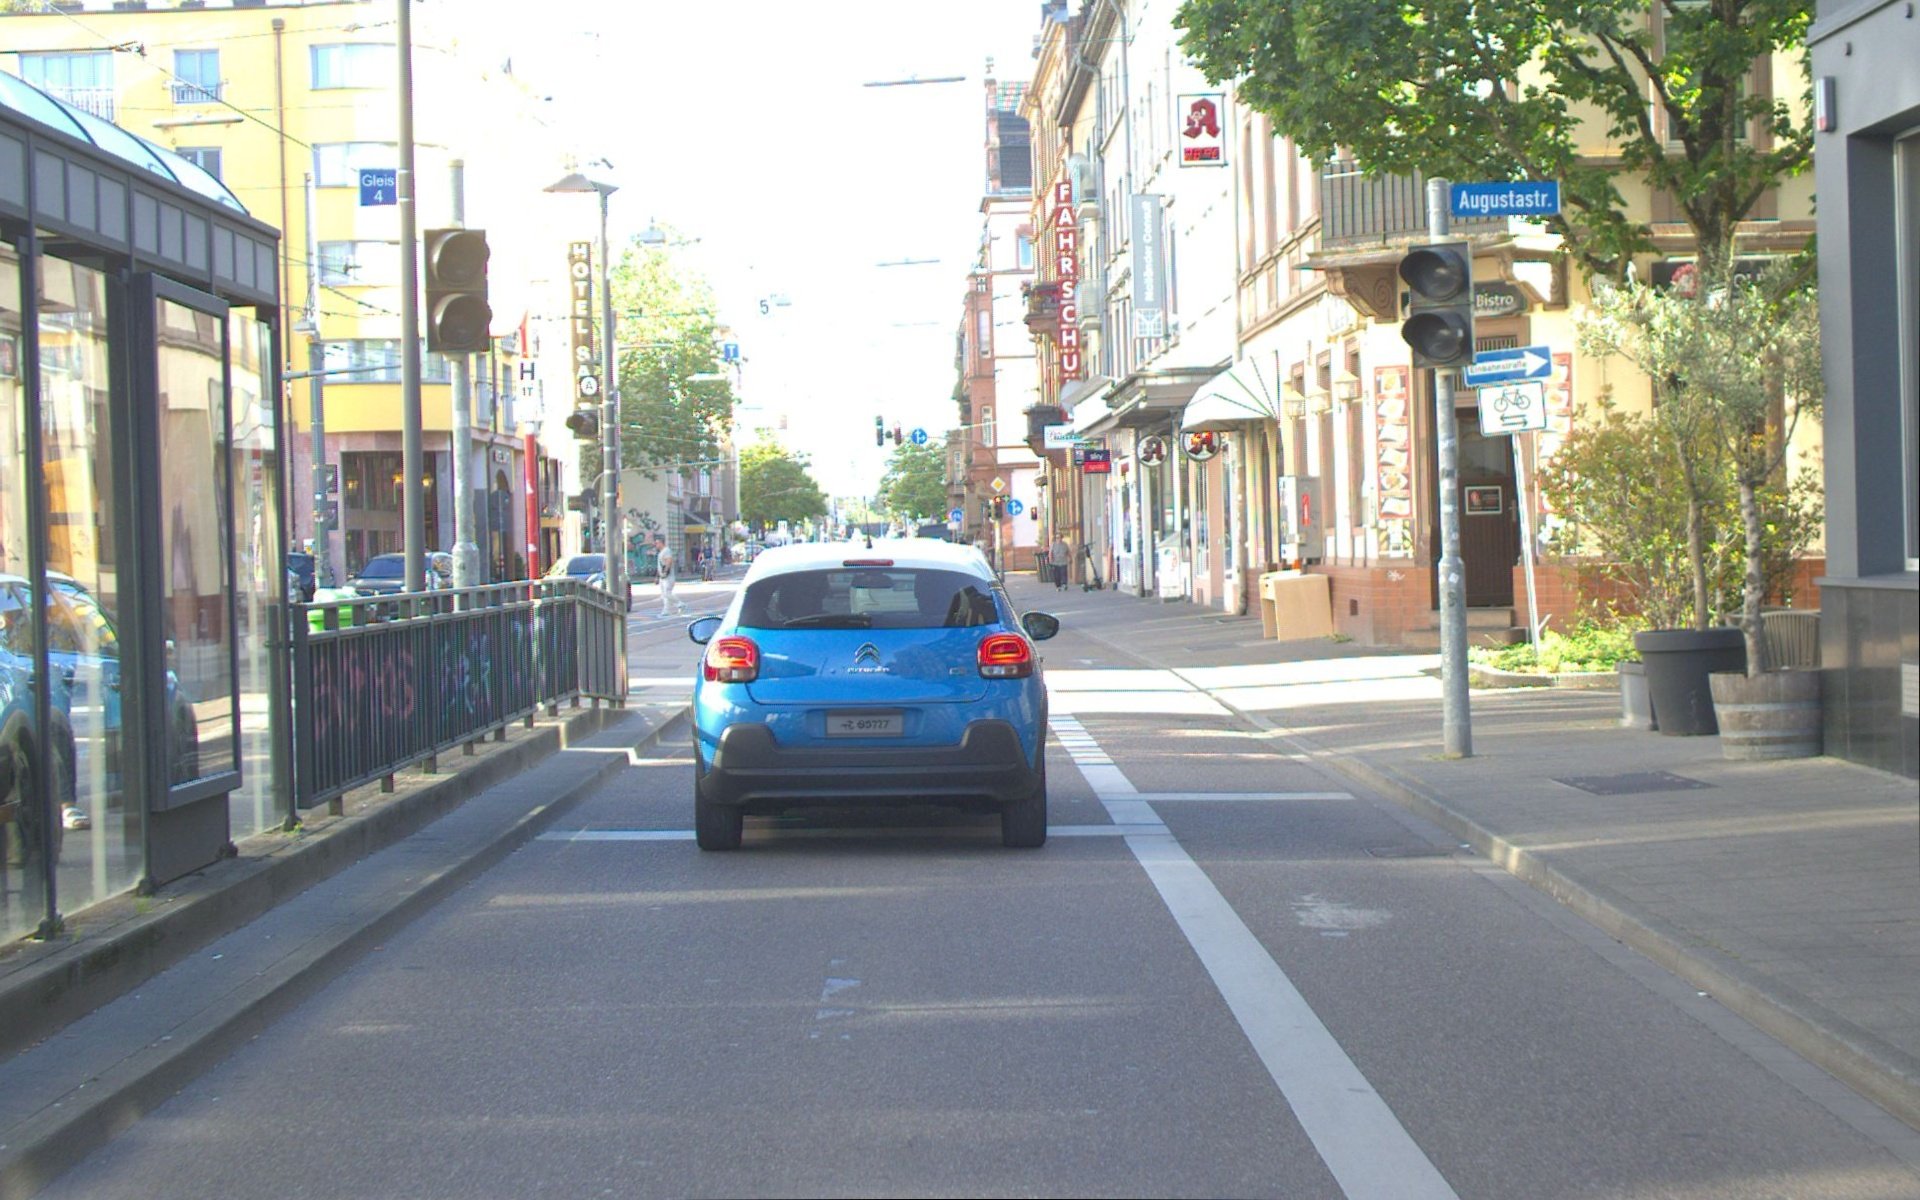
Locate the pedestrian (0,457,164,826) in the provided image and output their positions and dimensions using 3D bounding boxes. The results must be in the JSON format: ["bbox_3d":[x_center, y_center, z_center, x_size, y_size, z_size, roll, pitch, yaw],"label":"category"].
[{"bbox_3d":[-3.847,0.171,14.892,0.621,1.553,0.568,-1,1,0],"label":"pedestrian"}]

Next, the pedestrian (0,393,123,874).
[{"bbox_3d":[-3.549,0.117,12.876,0.563,1.745,0.719,-3,1,-29],"label":"pedestrian"}]

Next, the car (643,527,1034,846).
[{"bbox_3d":[-0.573,0.356,17.483,1.781,1.446,3.654,0,1,-1],"label":"car"}]

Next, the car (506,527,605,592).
[{"bbox_3d":[-10.173,-1.038,86.732,1.951,1.481,4.000,-3,1,0],"label":"car"}]

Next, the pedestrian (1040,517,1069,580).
[{"bbox_3d":[2.510,-1.355,90.971,0.693,1.645,0.680,-1,1,-1],"label":"pedestrian"}]

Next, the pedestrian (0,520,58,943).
[{"bbox_3d":[-3.275,0.401,10.548,0.764,1.268,0.719,-2,1,2],"label":"pedestrian"}]

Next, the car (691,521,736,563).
[{"bbox_3d":[-11.996,-2.808,167.548,1.993,2.007,4.000,0,0,-1],"label":"car"}]

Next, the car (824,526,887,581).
[{"bbox_3d":[-3.372,-1.486,111.668,1.993,1.737,4.000,0,0,-1],"label":"car"}]

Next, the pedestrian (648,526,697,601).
[{"bbox_3d":[-6.407,-0.822,76.600,0.838,1.648,0.697,-2,2,-29],"label":"pedestrian"}]

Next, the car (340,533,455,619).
[{"bbox_3d":[-11.655,-0.527,71.474,1.752,1.609,4.828,-3,1,-3],"label":"car"}]

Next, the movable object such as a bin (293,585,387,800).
[{"bbox_3d":[-2.973,0.439,16.498,0.346,1.004,0.404,-2,1,1],"label":"movable object such as a bin"}]

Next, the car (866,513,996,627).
[{"bbox_3d":[-0.472,-0.470,54.735,1.993,1.737,4.000,0,0,-1],"label":"car"}]
